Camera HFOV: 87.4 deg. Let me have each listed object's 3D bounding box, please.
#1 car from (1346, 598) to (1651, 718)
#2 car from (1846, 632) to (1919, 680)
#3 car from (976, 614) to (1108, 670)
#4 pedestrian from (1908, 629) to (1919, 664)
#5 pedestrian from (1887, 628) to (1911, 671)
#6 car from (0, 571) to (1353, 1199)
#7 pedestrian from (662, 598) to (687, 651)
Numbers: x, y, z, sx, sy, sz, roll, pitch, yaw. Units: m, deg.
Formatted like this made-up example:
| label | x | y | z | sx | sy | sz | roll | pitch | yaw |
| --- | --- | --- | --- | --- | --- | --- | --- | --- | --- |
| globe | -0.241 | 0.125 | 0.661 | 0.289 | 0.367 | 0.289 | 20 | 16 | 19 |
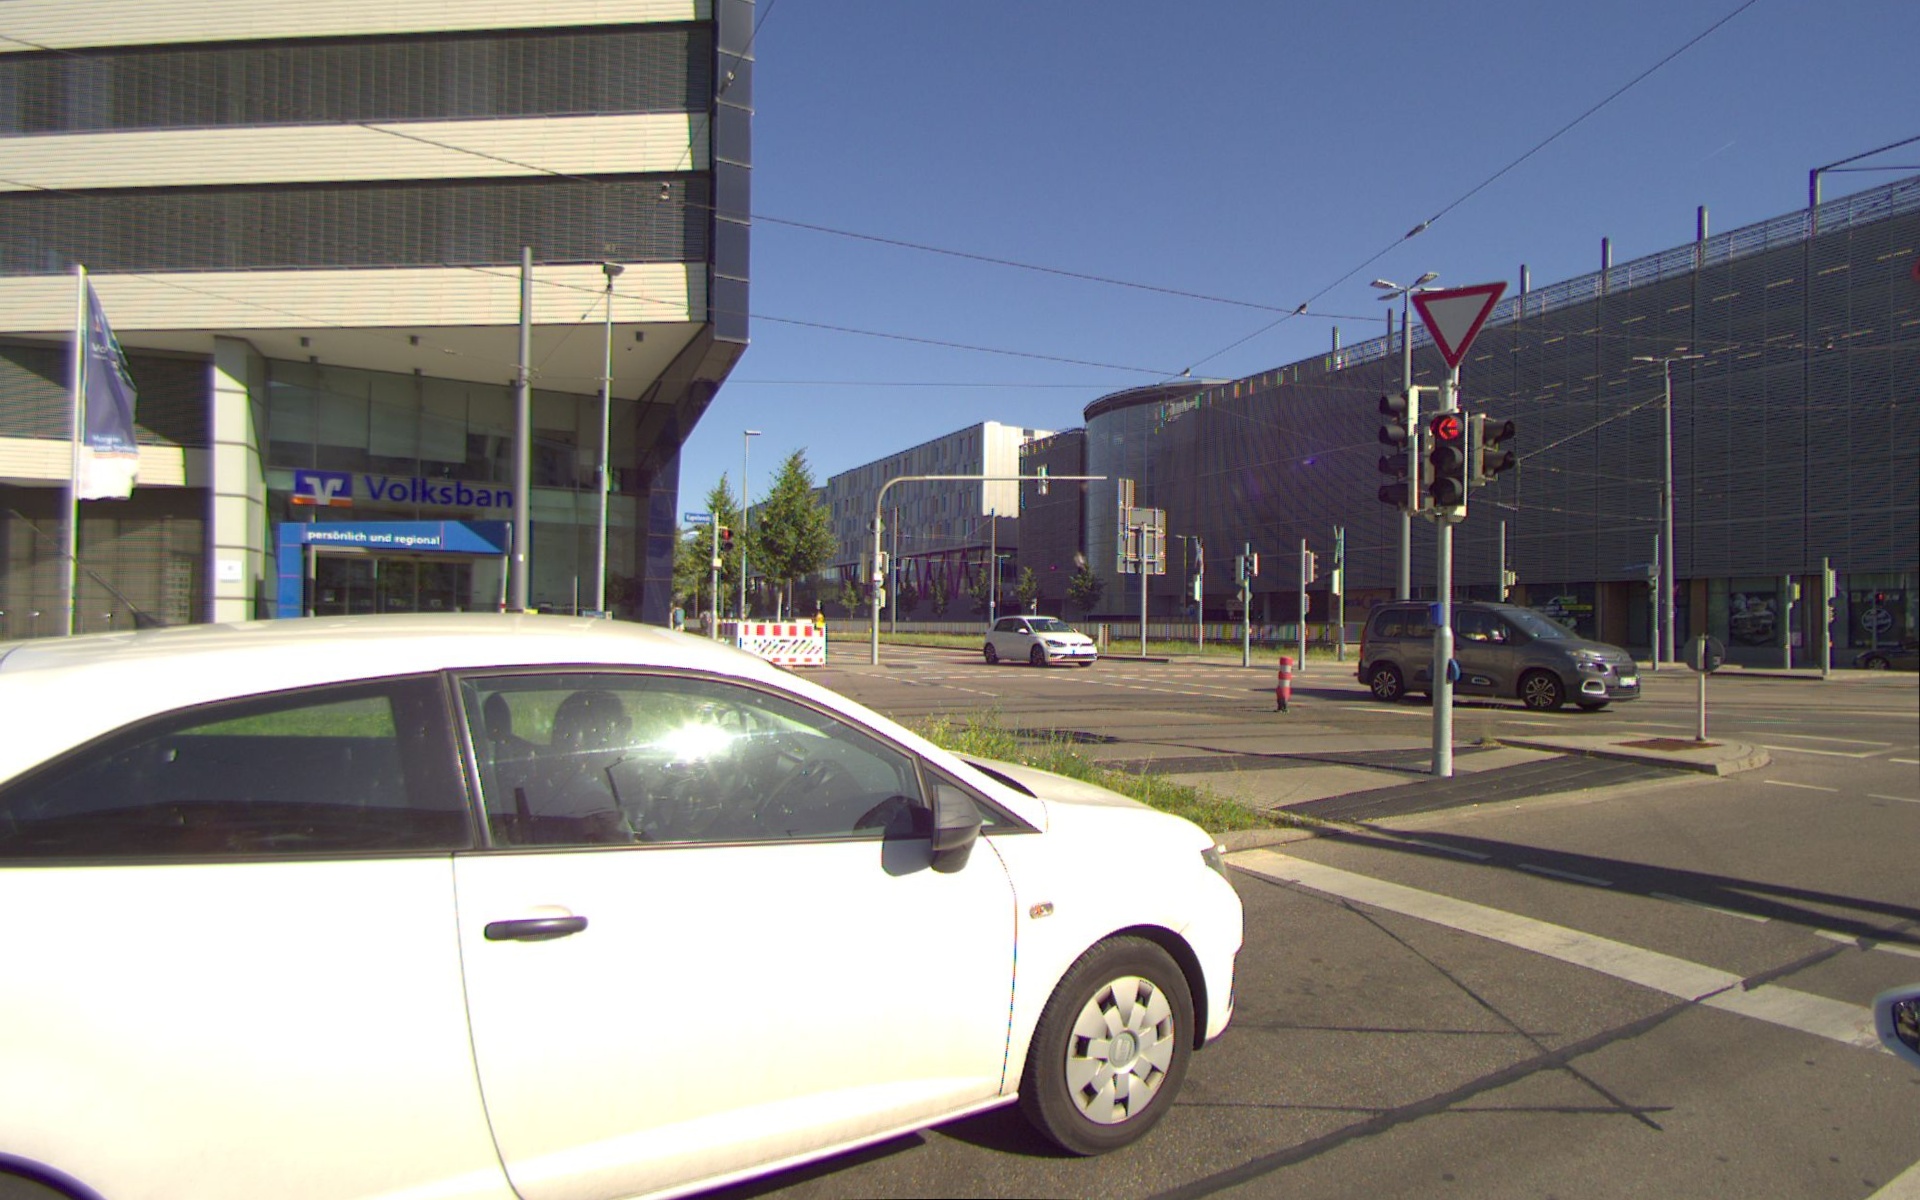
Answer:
| label | x | y | z | sx | sy | sz | roll | pitch | yaw |
| --- | --- | --- | --- | --- | --- | --- | --- | --- | --- |
| car | 9.150 | 0.908 | 17.451 | 1.691 | 1.815 | 4.432 | 1 | -1 | -33 |
| car | 36.108 | 2.188 | 37.384 | 1.819 | 1.605 | 4.268 | 2 | 2 | -30 |
| car | 2.286 | 1.158 | 29.153 | 1.842 | 1.492 | 4.265 | 1 | -1 | -28 |
| pedestrian | 45.140 | 2.167 | 47.162 | 0.584 | 1.622 | 0.661 | 2 | 0 | -11 |
| pedestrian | 39.962 | 2.114 | 42.732 | 0.687 | 1.821 | 0.726 | -2 | -3 | 44 |
| car | -0.961 | 0.735 | 2.791 | 3.977 | 1.460 | 1.723 | 2 | 1 | -31 |
| pedestrian | -9.430 | 0.801 | 33.153 | 0.729 | 1.719 | 0.805 | 0 | -2 | -20 |
